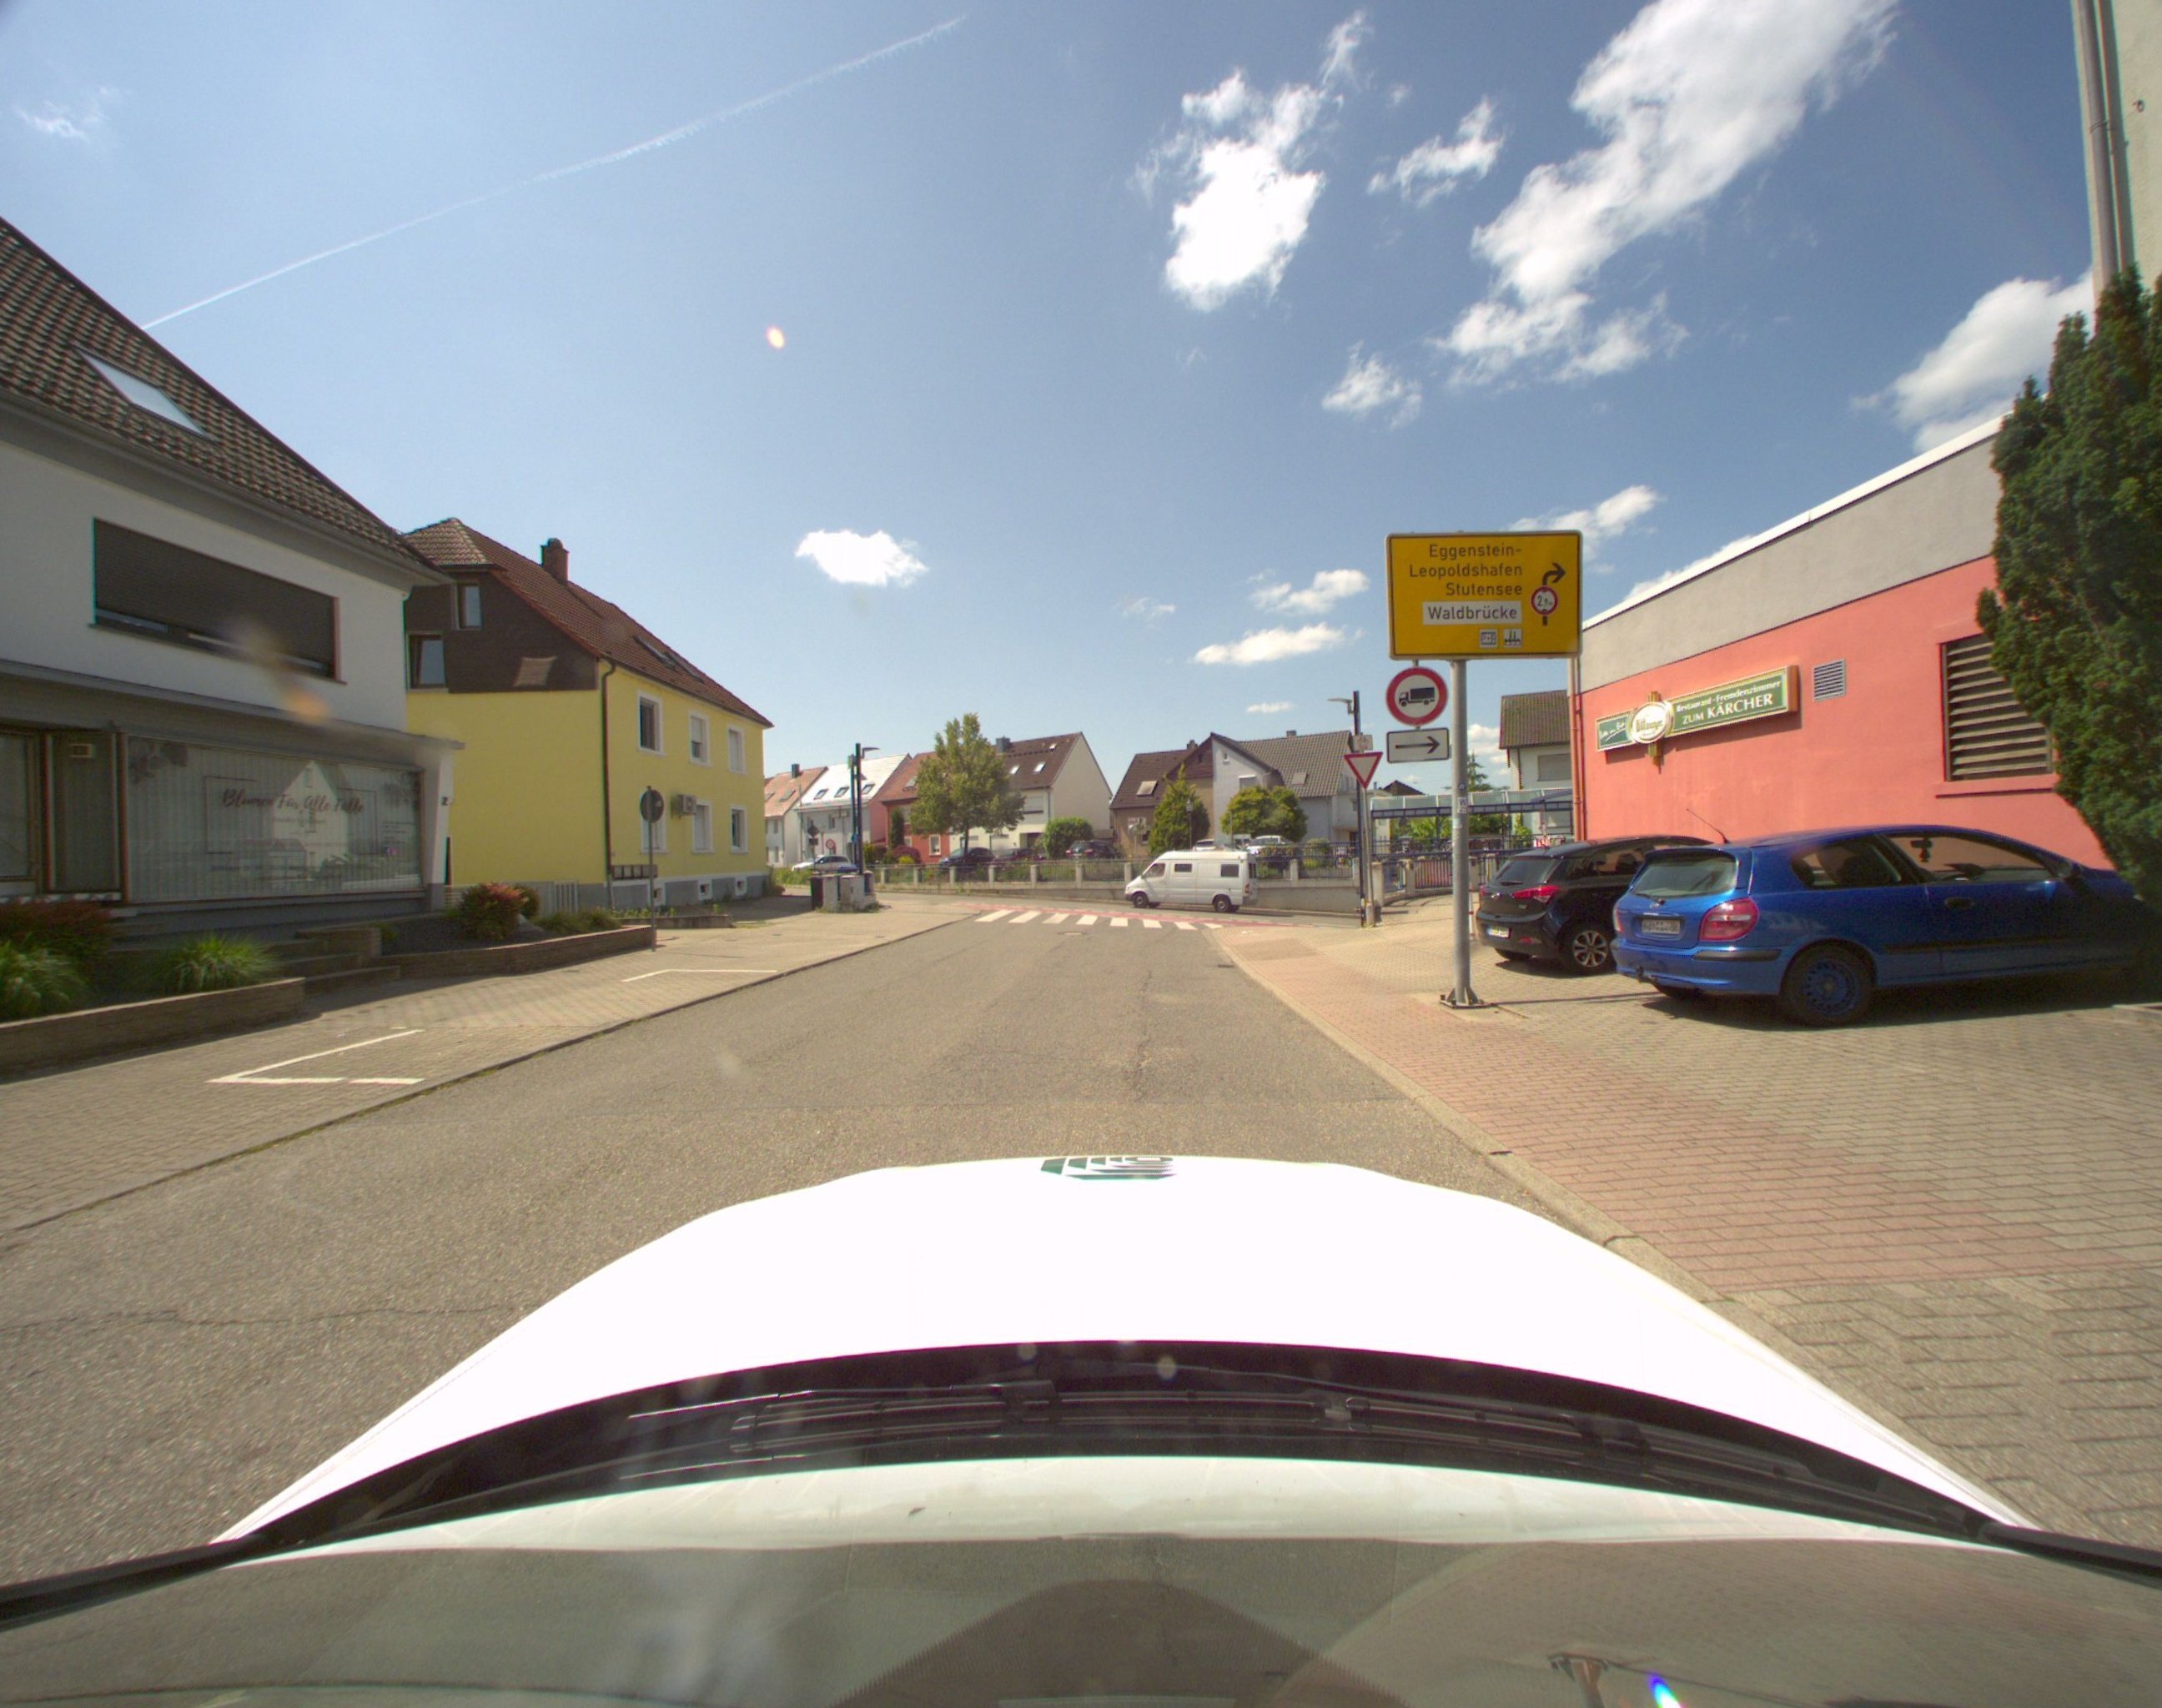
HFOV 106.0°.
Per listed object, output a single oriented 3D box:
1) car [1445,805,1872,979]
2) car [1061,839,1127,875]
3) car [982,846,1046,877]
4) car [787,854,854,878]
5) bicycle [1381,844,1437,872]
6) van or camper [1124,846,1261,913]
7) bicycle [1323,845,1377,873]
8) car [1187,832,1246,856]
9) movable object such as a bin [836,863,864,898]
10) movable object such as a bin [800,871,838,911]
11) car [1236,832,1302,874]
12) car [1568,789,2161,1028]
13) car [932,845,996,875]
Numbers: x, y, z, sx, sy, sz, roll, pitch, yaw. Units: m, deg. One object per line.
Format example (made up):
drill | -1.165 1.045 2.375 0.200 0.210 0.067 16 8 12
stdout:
car | 6.936 0.449 10.114 3.883 1.490 1.809 -7 -2 -1
car | 0.757 0.201 44.026 1.850 1.797 4.024 2 0 28
car | -3.733 0.449 46.133 1.850 1.586 3.631 2 0 28
car | -18.372 0.865 57.520 1.725 1.488 4.283 2 0 35
bicycle | 13.466 0.181 33.492 2.096 1.126 0.394 -1 0 22
van or camper | 4.726 1.048 34.622 5.328 2.630 2.015 1 -2 23
bicycle | 11.342 0.224 34.343 2.096 1.126 0.335 -1 0 22
car | 6.735 -0.490 40.242 1.808 1.020 3.480 2 0 28
movable object such as a bin | -8.399 0.938 29.594 0.840 1.213 1.272 -1 -1 -11
movable object such as a bin | -8.427 1.181 26.223 0.881 1.225 0.903 -1 -1 4
car | 9.083 -0.011 39.089 1.975 1.797 4.221 2 0 28
car | 6.837 0.390 6.841 4.308 1.439 1.780 -5 -3 0
car | -6.891 0.372 48.210 1.850 1.586 3.631 2 0 28
